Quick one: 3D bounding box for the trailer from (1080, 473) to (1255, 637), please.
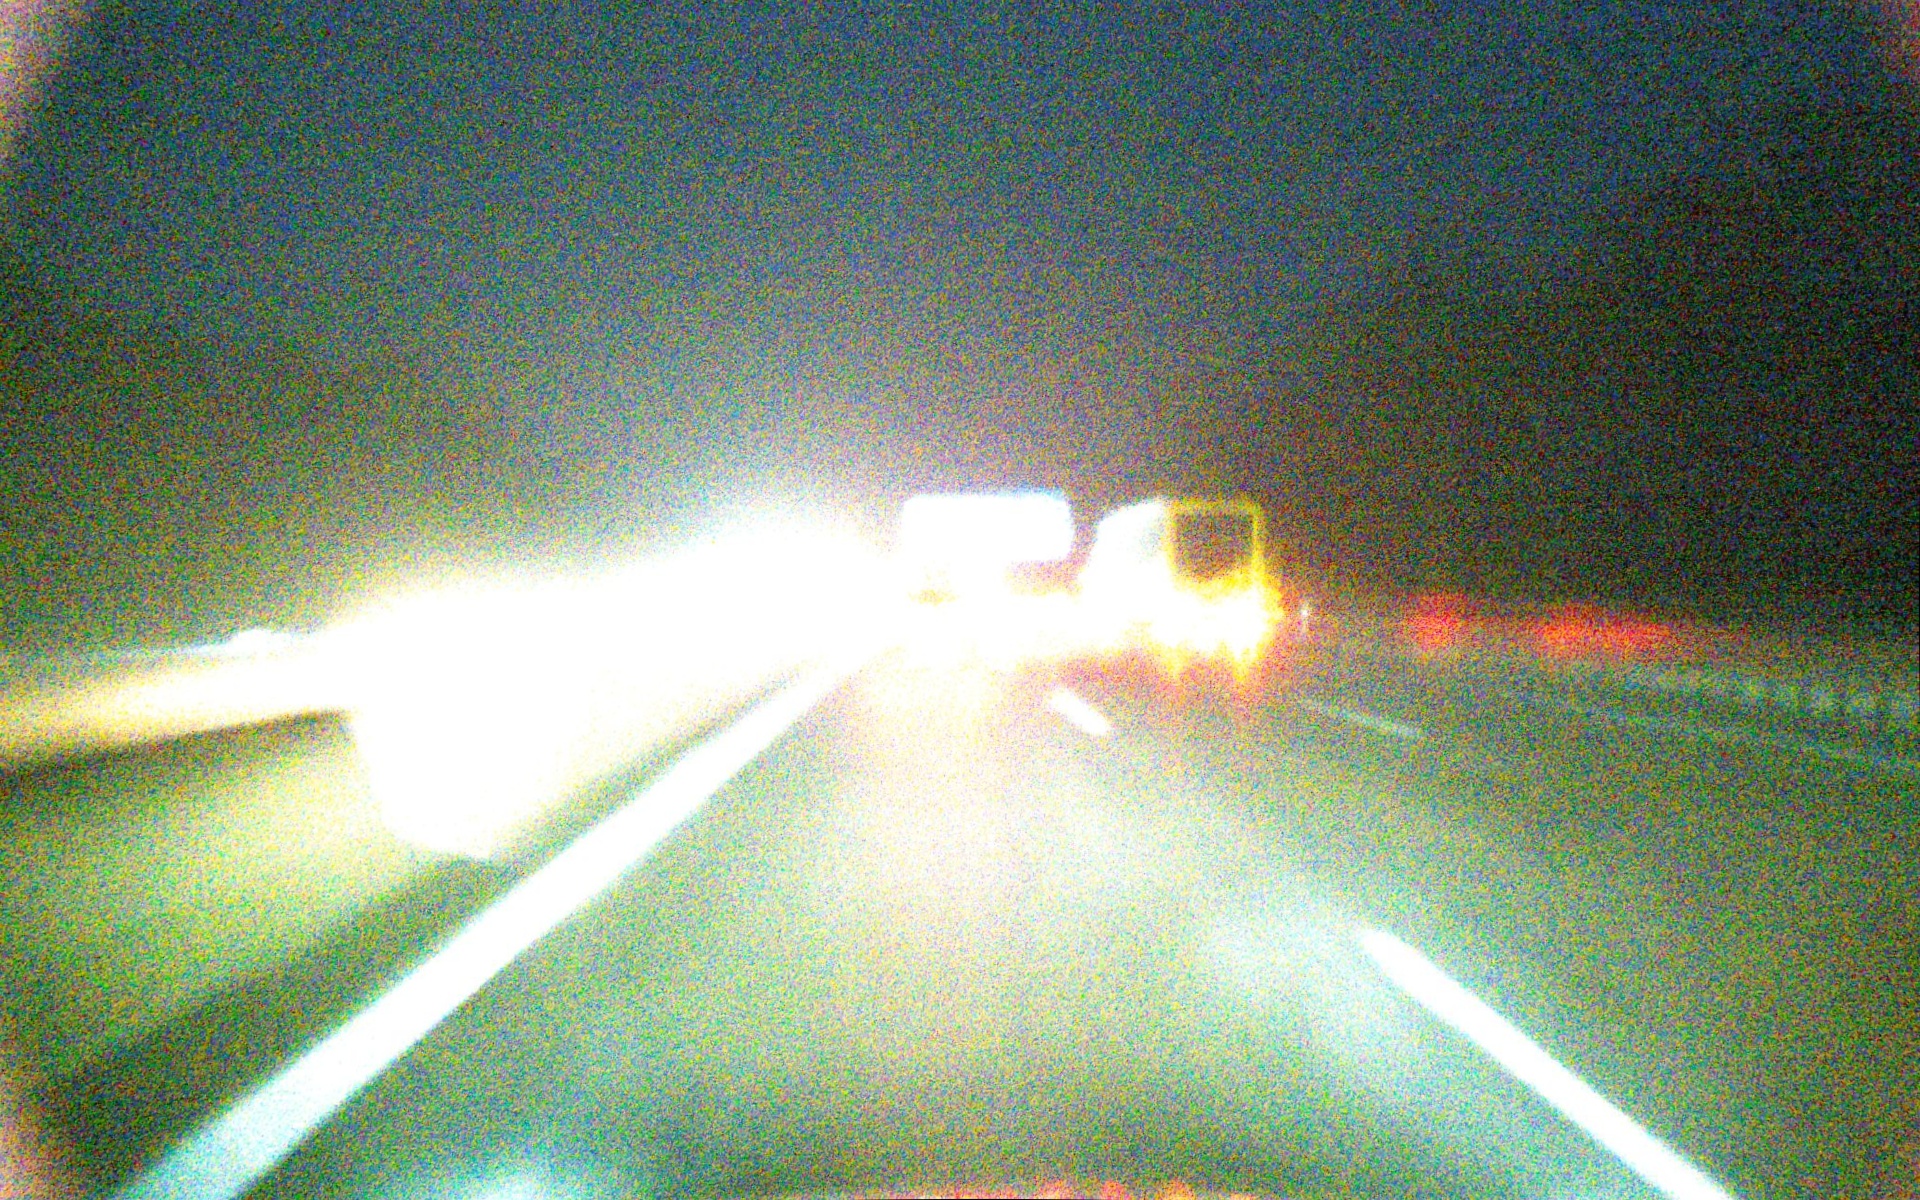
[{"bbox_3d":[5.899,-1.187,49.872,2.980,4.180,13.823,-2,0,-2],"label":"trailer"}]

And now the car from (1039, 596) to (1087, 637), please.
[{"bbox_3d":[5.445,0.849,87.815,1.954,2.049,3.997,-2,0,-4],"label":"car"}]

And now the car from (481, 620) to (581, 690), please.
[{"bbox_3d":[-12.918,1.615,50.053,1.953,1.791,4.653,1,1,-2],"label":"car"}]

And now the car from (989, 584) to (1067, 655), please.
[{"bbox_3d":[2.075,0.586,51.419,1.954,2.049,3.997,-2,0,-4],"label":"car"}]

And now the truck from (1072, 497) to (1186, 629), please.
[{"bbox_3d":[5.644,-1.205,56.222,2.980,4.180,5.796,-2,0,-2],"label":"truck"}]

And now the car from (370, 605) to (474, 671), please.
[{"bbox_3d":[-17.192,1.173,53.141,1.954,1.847,5.091,1,1,-4],"label":"car"}]

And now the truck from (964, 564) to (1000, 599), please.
[{"bbox_3d":[2.124,-1.792,165.115,2.976,3.355,11.376,-2,0,-2],"label":"truck"}]

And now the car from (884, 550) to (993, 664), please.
[{"bbox_3d":[-0.420,0.127,32.004,1.953,2.049,3.999,1,0,-1],"label":"car"}]

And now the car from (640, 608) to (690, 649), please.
[{"bbox_3d":[-14.359,1.347,80.599,1.954,1.791,3.997,1,1,-4],"label":"car"}]

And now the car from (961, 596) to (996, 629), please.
[{"bbox_3d":[1.207,0.826,109.059,1.954,2.049,3.997,-2,0,-4],"label":"car"}]
